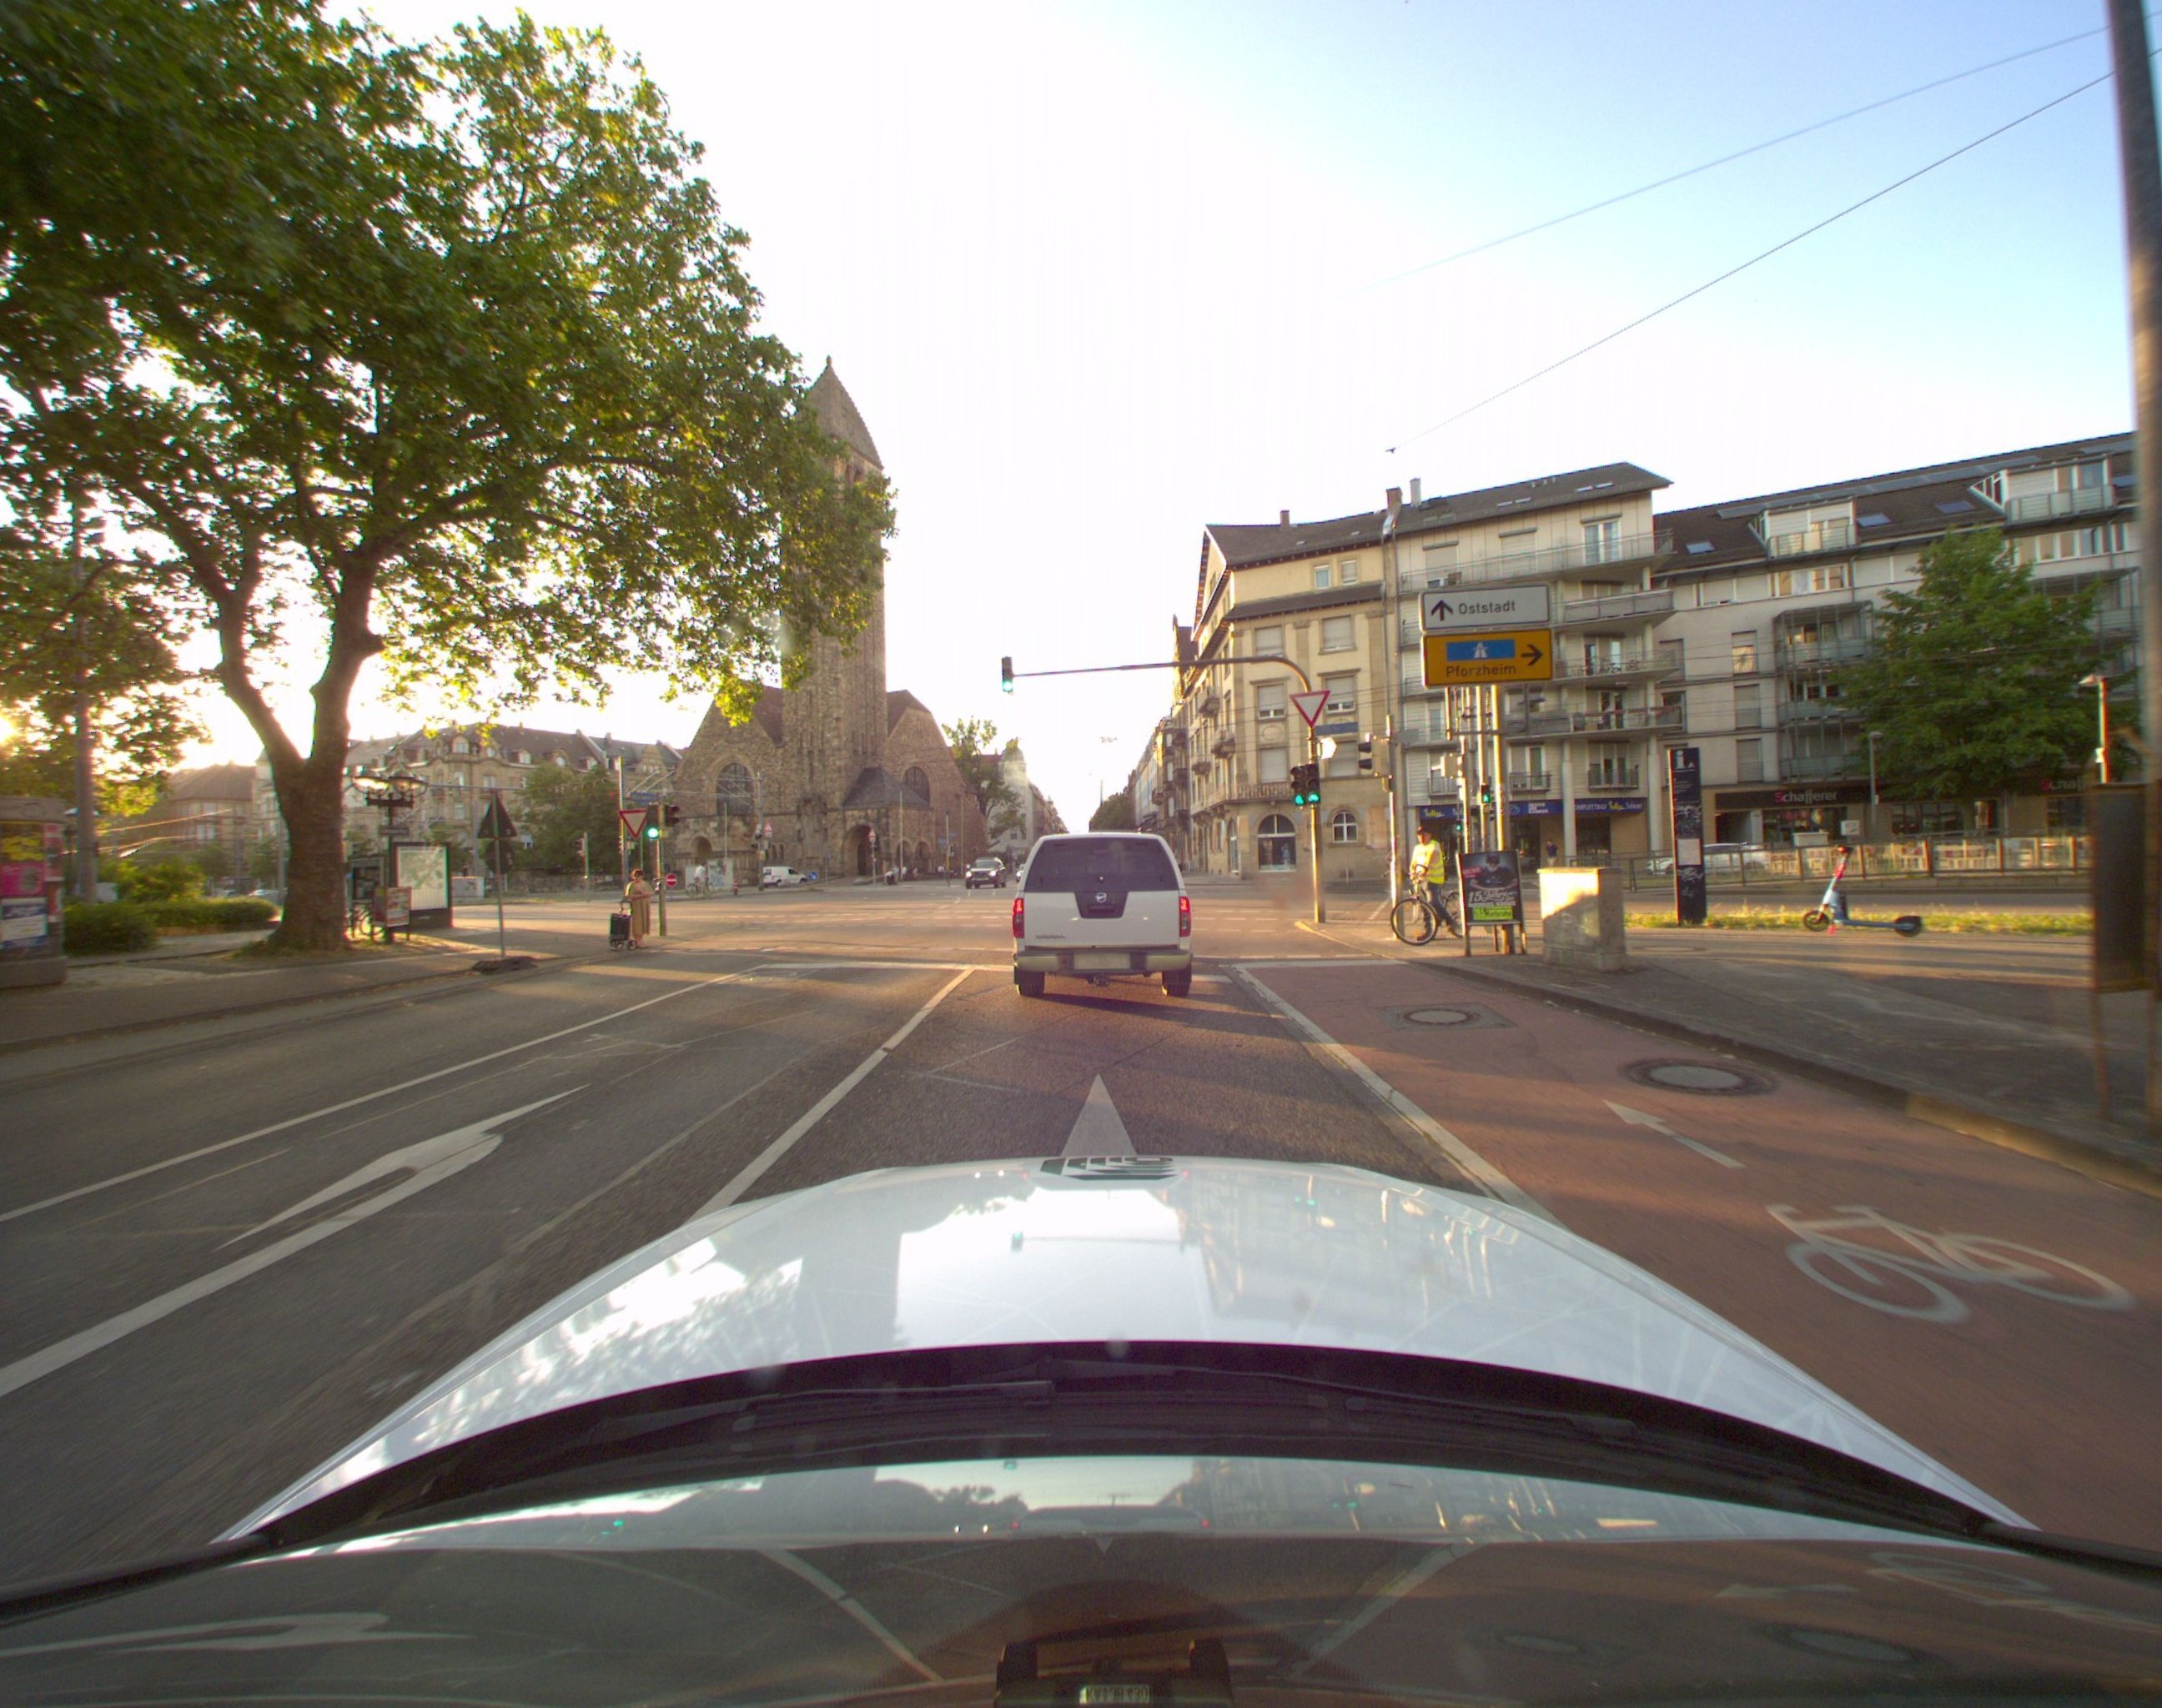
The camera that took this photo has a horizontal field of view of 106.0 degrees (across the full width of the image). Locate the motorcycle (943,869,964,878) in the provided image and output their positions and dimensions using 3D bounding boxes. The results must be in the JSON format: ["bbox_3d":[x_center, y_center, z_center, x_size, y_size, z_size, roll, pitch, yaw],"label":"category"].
[{"bbox_3d":[-14.207,2.132,90.944,2.239,0.988,0.707,-1,-1,-4],"label":"motorcycle"}]

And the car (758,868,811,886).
[{"bbox_3d":[-26.181,1.999,72.094,1.698,1.517,4.481,-1,-1,26],"label":"car"}]

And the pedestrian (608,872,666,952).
[{"bbox_3d":[-9.342,1.191,17.152,0.800,1.628,0.773,-1,-1,-3],"label":"pedestrian"}]

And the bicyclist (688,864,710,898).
[{"bbox_3d":[-21.248,1.509,45.363,0.652,1.827,0.863,-1,1,15],"label":"bicyclist"}]

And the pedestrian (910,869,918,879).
[{"bbox_3d":[-14.971,1.789,73.098,0.473,0.960,0.526,-2,-2,31],"label":"pedestrian"}]

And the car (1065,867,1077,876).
[{"bbox_3d":[-1.675,2.803,131.422,1.852,1.529,3.999,-1,-1,0],"label":"car"}]

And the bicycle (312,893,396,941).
[{"bbox_3d":[-18.072,1.537,20.294,0.456,1.093,1.798,-1,-1,0],"label":"bicycle"}]

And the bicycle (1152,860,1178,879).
[{"bbox_3d":[6.219,1.171,60.529,1.812,1.238,0.477,-5,-1,-1],"label":"bicycle"}]

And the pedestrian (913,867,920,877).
[{"bbox_3d":[-16.842,1.824,83.337,0.549,0.960,0.710,-1,-1,4],"label":"pedestrian"}]

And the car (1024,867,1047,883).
[{"bbox_3d":[-4.629,2.140,83.747,1.987,1.477,4.140,-2,-1,1],"label":"car"}]

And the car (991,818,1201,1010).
[{"bbox_3d":[0.211,0.608,9.777,1.986,1.809,4.001,-1,-1,2],"label":"car"}]

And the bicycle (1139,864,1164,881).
[{"bbox_3d":[5.155,1.330,59.366,1.721,1.083,0.317,-5,-1,-1],"label":"bicycle"}]

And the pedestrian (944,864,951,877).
[{"bbox_3d":[-13.012,1.604,79.287,0.474,1.245,0.526,-1,-1,19],"label":"pedestrian"}]

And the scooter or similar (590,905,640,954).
[{"bbox_3d":[-9.308,1.499,16.295,0.591,0.898,0.849,-1,-1,-9],"label":"scooter or similar"}]

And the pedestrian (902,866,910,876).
[{"bbox_3d":[-15.502,1.505,72.222,0.517,0.960,0.482,-1,-1,21],"label":"pedestrian"}]

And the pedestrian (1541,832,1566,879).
[{"bbox_3d":[22.495,0.082,38.798,0.860,2.209,0.825,-1,-1,21],"label":"pedestrian"}]

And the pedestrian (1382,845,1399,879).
[{"bbox_3d":[16.337,0.446,43.009,0.779,1.779,0.546,-1,-2,27],"label":"pedestrian"}]

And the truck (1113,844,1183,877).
[{"bbox_3d":[5.458,0.527,65.473,5.704,2.565,2.260,0,-1,-42],"label":"truck"}]

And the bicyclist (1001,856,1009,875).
[{"bbox_3d":[-6.721,1.046,71.980,0.597,1.645,0.963,-1,-1,1],"label":"bicyclist"}]

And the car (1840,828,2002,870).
[{"bbox_3d":[32.690,-0.158,31.849,3.952,1.486,1.859,-1,-1,22],"label":"car"}]

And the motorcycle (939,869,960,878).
[{"bbox_3d":[-14.374,2.098,88.920,2.239,0.988,0.707,-1,-1,-4],"label":"motorcycle"}]

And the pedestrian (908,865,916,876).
[{"bbox_3d":[-14.891,1.491,71.930,0.517,0.960,0.482,-1,-1,21],"label":"pedestrian"}]

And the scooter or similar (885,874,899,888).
[{"bbox_3d":[-15.275,2.161,65.771,0.629,1.103,1.082,-2,-2,13],"label":"scooter or similar"}]

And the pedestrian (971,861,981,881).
[{"bbox_3d":[-9.756,1.588,75.694,0.809,1.901,0.666,-1,-1,0],"label":"pedestrian"}]

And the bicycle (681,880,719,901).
[{"bbox_3d":[-21.232,2.020,45.383,0.652,1.078,2.253,0,0,13],"label":"bicycle"}]

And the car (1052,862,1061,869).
[{"bbox_3d":[-5.463,2.550,181.540,1.852,1.529,4.000,-1,-1,1],"label":"car"}]

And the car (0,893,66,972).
[{"bbox_3d":[-26.771,1.967,18.250,1.975,1.781,4.669,-3,1,27],"label":"car"}]

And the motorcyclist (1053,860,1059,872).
[{"bbox_3d":[-3.608,1.764,118.628,0.871,1.644,0.963,-1,-1,0],"label":"motorcyclist"}]

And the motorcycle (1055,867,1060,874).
[{"bbox_3d":[-3.380,2.354,118.652,0.597,1.043,1.946,-1,-1,1],"label":"motorcycle"}]

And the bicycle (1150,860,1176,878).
[{"bbox_3d":[6.270,1.173,62.391,1.849,1.238,0.530,-5,-1,-1],"label":"bicycle"}]

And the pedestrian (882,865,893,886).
[{"bbox_3d":[-15.801,1.777,66.577,0.629,1.698,0.605,-1,-1,12],"label":"pedestrian"}]

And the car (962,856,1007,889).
[{"bbox_3d":[-5.625,1.048,47.974,1.987,1.784,4.798,-1,0,1],"label":"car"}]

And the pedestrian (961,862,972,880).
[{"bbox_3d":[-10.617,1.609,75.574,0.809,1.669,0.859,-1,-1,0],"label":"pedestrian"}]

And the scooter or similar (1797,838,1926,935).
[{"bbox_3d":[10.609,0.435,11.125,1.219,1.249,0.518,-2,-2,42],"label":"scooter or similar"}]

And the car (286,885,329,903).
[{"bbox_3d":[-89.183,4.631,93.872,3.953,2.014,2.010,-1,-1,21],"label":"car"}]

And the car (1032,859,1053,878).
[{"bbox_3d":[-4.312,1.641,92.052,1.987,2.014,4.950,-2,0,1],"label":"car"}]

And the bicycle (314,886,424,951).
[{"bbox_3d":[-15.853,1.402,18.207,0.522,1.326,1.998,-1,-1,7],"label":"bicycle"}]

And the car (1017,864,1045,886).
[{"bbox_3d":[-4.221,1.727,69.495,1.988,1.557,4.767,-4,1,-1],"label":"car"}]

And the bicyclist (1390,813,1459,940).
[{"bbox_3d":[5.107,0.323,12.116,0.701,1.824,0.622,0,-2,-30],"label":"bicyclist"}]

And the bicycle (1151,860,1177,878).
[{"bbox_3d":[6.294,1.160,61.859,1.812,1.238,0.410,-5,-1,-1],"label":"bicycle"}]

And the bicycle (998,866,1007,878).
[{"bbox_3d":[-6.903,1.581,71.898,0.597,1.043,1.946,-1,-1,1],"label":"bicycle"}]

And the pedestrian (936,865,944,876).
[{"bbox_3d":[-13.425,1.575,77.603,0.517,0.960,0.481,-1,-1,19],"label":"pedestrian"}]

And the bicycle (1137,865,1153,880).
[{"bbox_3d":[4.765,1.396,60.260,1.073,1.024,0.317,-5,-1,-1],"label":"bicycle"}]

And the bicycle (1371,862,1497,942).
[{"bbox_3d":[5.318,0.680,12.238,2.078,1.109,0.622,0,-1,-31],"label":"bicycle"}]

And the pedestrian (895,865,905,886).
[{"bbox_3d":[-14.814,1.748,66.600,0.629,1.698,0.605,-1,-1,13],"label":"pedestrian"}]

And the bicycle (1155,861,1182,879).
[{"bbox_3d":[6.324,1.179,58.873,1.812,1.150,0.636,-5,-1,-1],"label":"bicycle"}]

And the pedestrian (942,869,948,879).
[{"bbox_3d":[-12.886,1.909,77.267,0.522,0.960,0.477,0,-1,-14],"label":"pedestrian"}]

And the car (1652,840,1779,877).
[{"bbox_3d":[26.775,0.218,34.540,3.950,1.486,1.860,-1,-1,26],"label":"car"}]

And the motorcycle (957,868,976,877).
[{"bbox_3d":[-13.105,2.159,93.205,2.146,0.988,0.597,-1,-1,21],"label":"motorcycle"}]

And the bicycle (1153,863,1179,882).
[{"bbox_3d":[6.248,1.338,59.813,1.812,1.238,0.488,-5,-1,-1],"label":"bicycle"}]
